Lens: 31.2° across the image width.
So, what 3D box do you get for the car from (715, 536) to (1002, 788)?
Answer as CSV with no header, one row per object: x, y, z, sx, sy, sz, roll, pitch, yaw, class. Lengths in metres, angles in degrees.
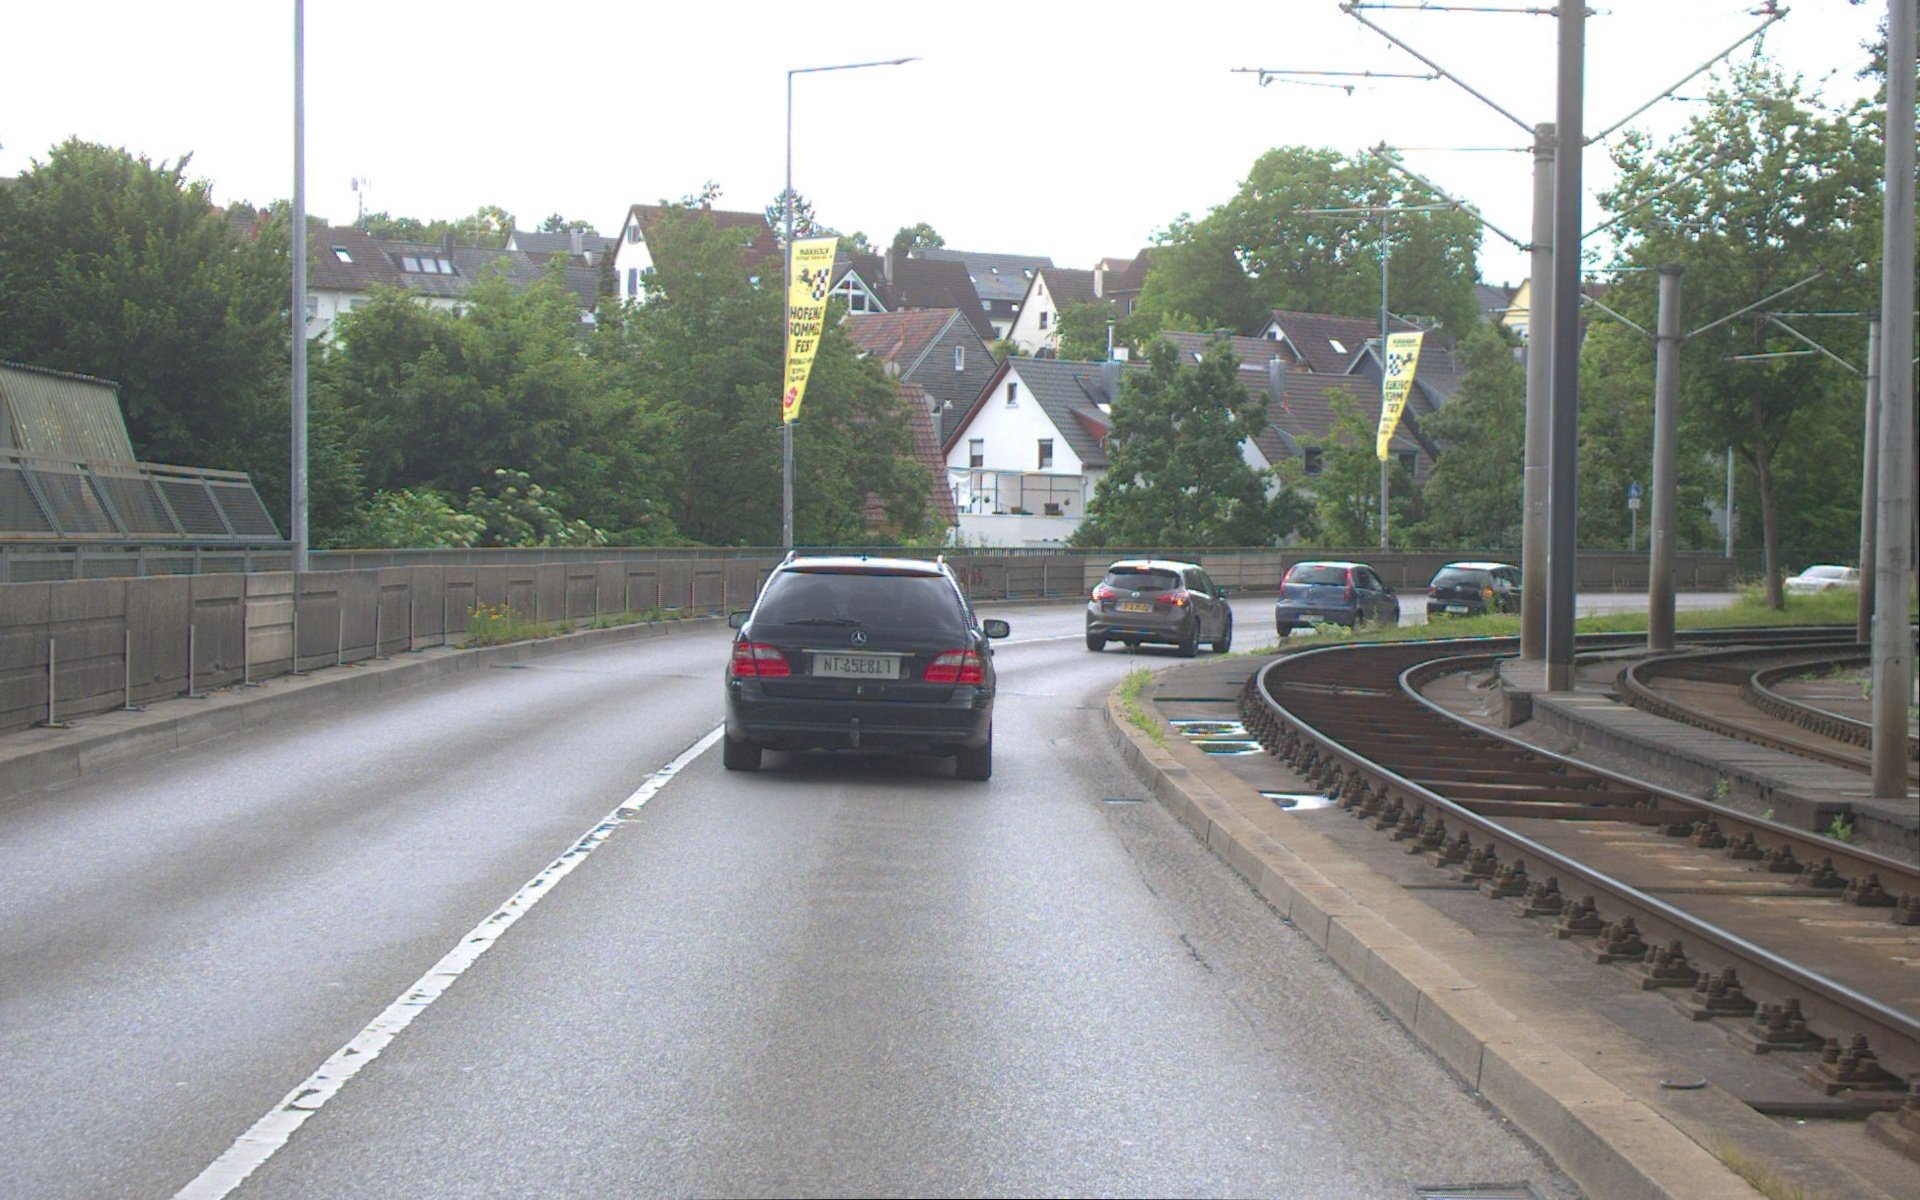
-0.713,0.358,24.156,1.759,1.510,4.443,3,1,-2,car

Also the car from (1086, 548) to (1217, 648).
3.216,-0.056,57.078,1.771,1.550,4.239,0,1,9,car

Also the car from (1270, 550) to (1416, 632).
7.586,-0.207,67.817,1.795,1.550,4.380,1,1,21,car

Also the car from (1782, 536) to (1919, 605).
23.592,-0.803,91.020,1.802,1.705,3.978,1,2,44,car

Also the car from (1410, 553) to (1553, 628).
11.380,-0.214,74.851,1.773,1.550,4.234,2,1,27,car
